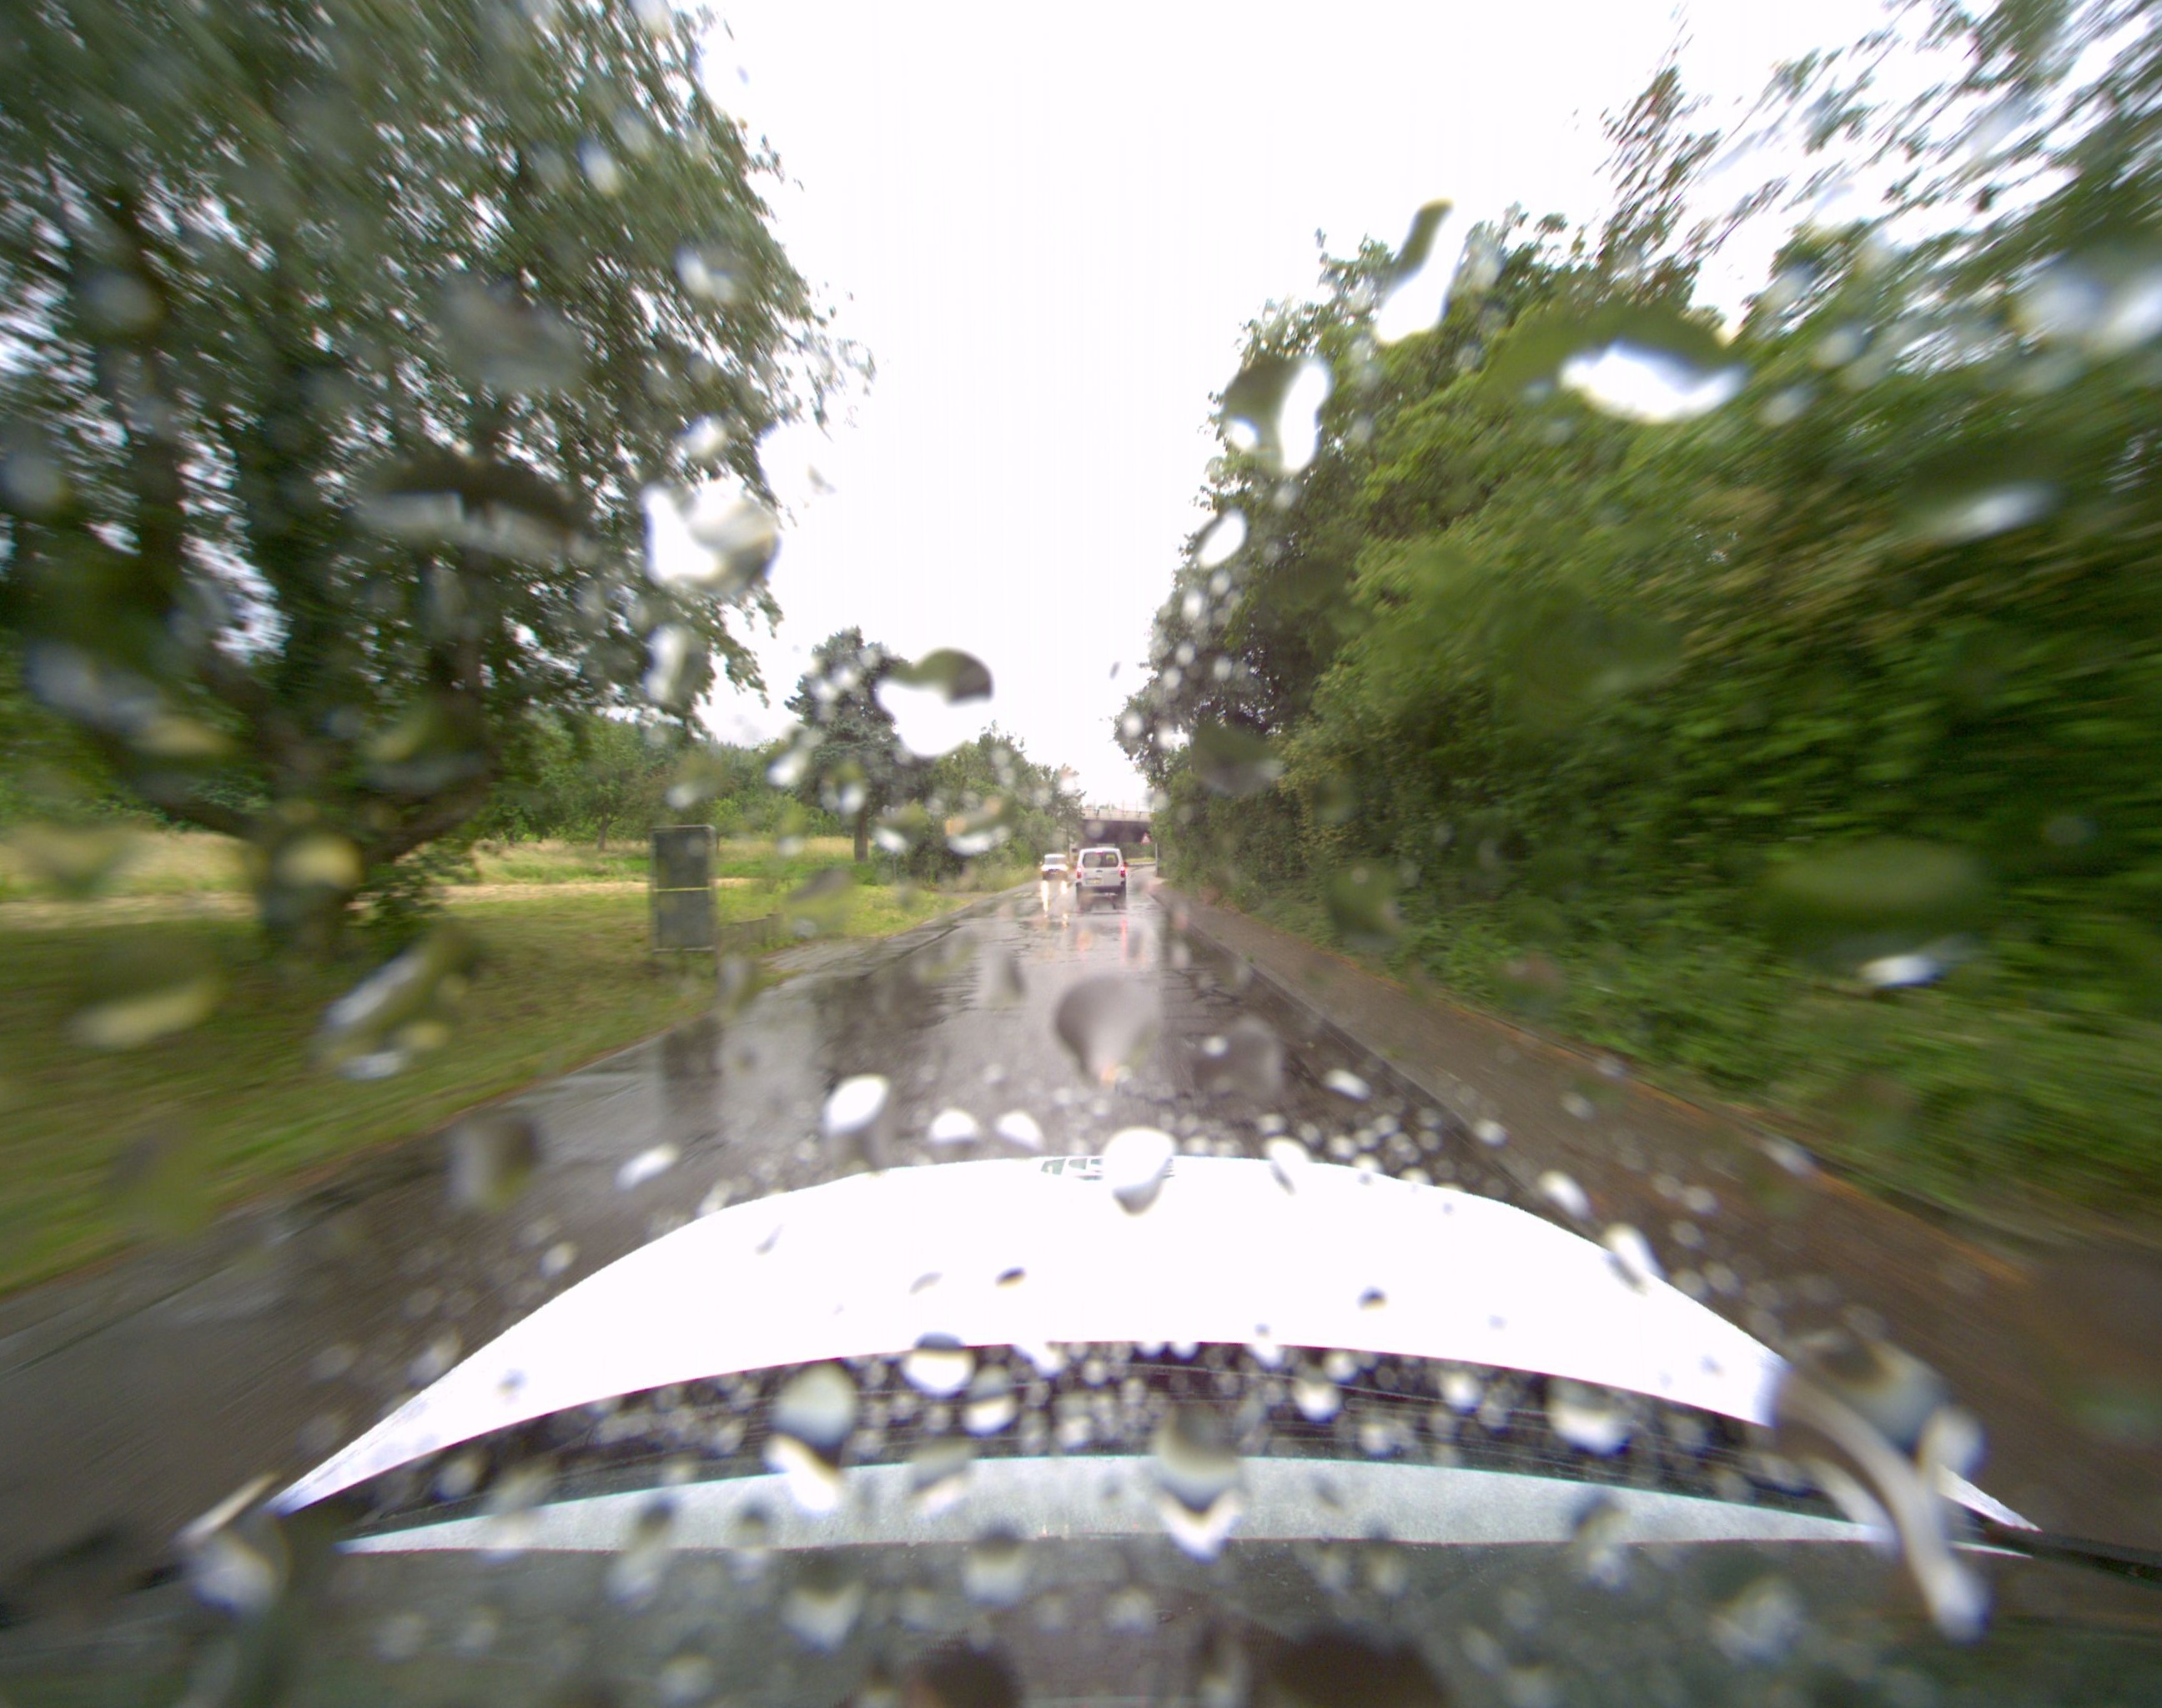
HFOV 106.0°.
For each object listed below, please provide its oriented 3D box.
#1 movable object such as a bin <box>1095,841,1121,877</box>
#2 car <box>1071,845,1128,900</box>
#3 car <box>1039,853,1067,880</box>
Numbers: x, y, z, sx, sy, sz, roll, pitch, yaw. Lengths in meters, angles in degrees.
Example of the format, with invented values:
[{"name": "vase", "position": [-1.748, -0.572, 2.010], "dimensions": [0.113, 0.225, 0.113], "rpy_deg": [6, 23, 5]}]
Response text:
[{"name": "movable object such as a bin", "position": [2.037, 0.376, 61.419], "dimensions": [1.753, 2.548, 4.243], "rpy_deg": [-1, -1, 4]}, {"name": "car", "position": [0.719, 0.629, 30.251], "dimensions": [1.889, 1.807, 4.002], "rpy_deg": [-3, 0, 2]}, {"name": "car", "position": [-1.983, 0.880, 59.122], "dimensions": [1.817, 1.832, 4.306], "rpy_deg": [-1, 0, 0]}]
